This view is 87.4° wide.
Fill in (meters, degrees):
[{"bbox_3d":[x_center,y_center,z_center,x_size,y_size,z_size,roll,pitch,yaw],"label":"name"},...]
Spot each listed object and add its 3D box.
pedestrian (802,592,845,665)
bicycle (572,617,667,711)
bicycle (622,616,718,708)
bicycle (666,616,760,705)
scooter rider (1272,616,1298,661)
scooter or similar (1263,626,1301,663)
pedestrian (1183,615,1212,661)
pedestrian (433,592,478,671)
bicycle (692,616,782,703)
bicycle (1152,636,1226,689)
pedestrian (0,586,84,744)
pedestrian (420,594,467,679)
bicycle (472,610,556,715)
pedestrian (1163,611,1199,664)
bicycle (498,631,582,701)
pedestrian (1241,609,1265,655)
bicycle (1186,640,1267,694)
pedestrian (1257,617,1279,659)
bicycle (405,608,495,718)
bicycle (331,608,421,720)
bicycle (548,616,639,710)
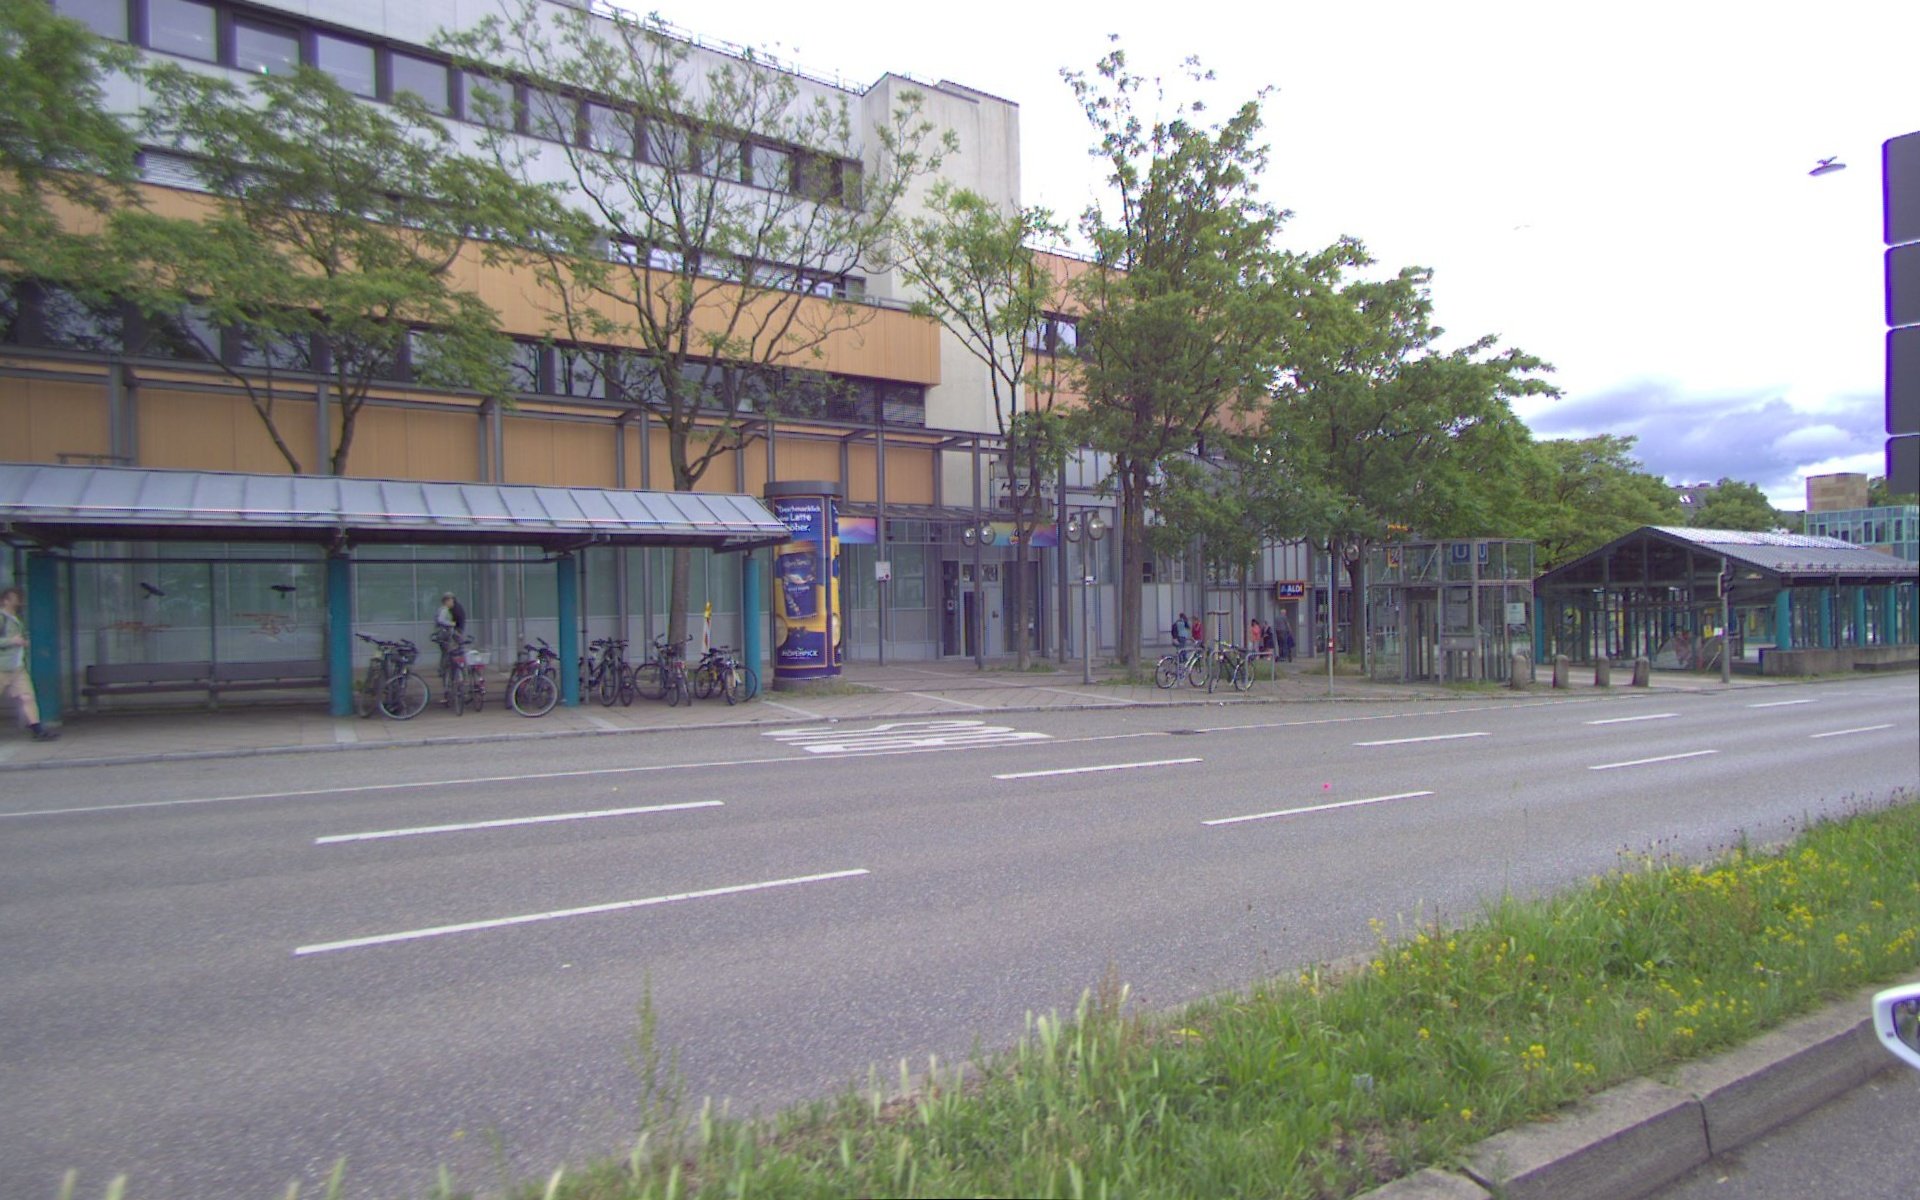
[{"bbox_3d":[-3.911,0.807,28.744,0.924,2.040,0.891,1,-1,-33],"label":"pedestrian"},{"bbox_3d":[-6.026,1.066,17.638,0.798,1.526,2.880,0,-1,-35],"label":"bicycle"},{"bbox_3d":[-5.294,1.066,18.192,0.771,1.526,2.880,0,-1,-35],"label":"bicycle"},{"bbox_3d":[-4.628,1.070,18.614,0.693,1.526,2.880,0,-1,-35],"label":"bicycle"},{"bbox_3d":[11.693,1.379,36.138,0.697,1.566,0.523,1,1,-24],"label":"scooter rider"},{"bbox_3d":[11.572,1.579,36.103,1.269,1.284,0.479,1,1,-23],"label":"scooter or similar"},{"bbox_3d":[8.454,1.346,35.700,0.818,1.607,0.629,1,-1,-37],"label":"pedestrian"},{"bbox_3d":[-11.564,0.708,23.029,0.782,1.739,0.764,0,1,-37],"label":"pedestrian"},{"bbox_3d":[-4.251,1.070,18.950,0.593,1.526,2.880,0,-1,-35],"label":"bicycle"},{"bbox_3d":[5.294,1.418,23.162,1.942,1.151,0.707,1,-1,-43],"label":"bicycle"},{"bbox_3d":[-11.436,0.767,12.095,1.200,1.847,0.700,1,1,-31],"label":"pedestrian"},{"bbox_3d":[-10.955,0.755,21.306,0.782,1.739,0.764,0,1,-36],"label":"pedestrian"},{"bbox_3d":[-7.490,0.965,16.778,0.803,1.527,2.881,0,1,-34],"label":"bicycle"},{"bbox_3d":[7.469,1.243,33.909,0.878,1.739,0.764,0,1,-36],"label":"pedestrian"},{"bbox_3d":[-7.583,1.139,18.030,0.798,1.127,2.880,0,-1,-35],"label":"bicycle"},{"bbox_3d":[11.304,1.242,38.761,0.674,1.750,0.560,0,-1,-36],"label":"pedestrian"},{"bbox_3d":[5.925,1.455,22.255,1.921,1.098,0.823,0,-1,-42],"label":"bicycle"},{"bbox_3d":[11.710,1.437,38.212,0.674,1.610,0.513,0,-1,-36],"label":"pedestrian"},{"bbox_3d":[-8.277,0.941,16.220,0.883,1.527,2.879,0,1,-35],"label":"bicycle"},{"bbox_3d":[-9.129,0.919,15.635,0.963,1.527,2.879,0,1,-35],"label":"bicycle"},{"bbox_3d":[-6.525,1.062,17.760,0.798,1.526,2.880,0,-1,-35],"label":"bicycle"}]
